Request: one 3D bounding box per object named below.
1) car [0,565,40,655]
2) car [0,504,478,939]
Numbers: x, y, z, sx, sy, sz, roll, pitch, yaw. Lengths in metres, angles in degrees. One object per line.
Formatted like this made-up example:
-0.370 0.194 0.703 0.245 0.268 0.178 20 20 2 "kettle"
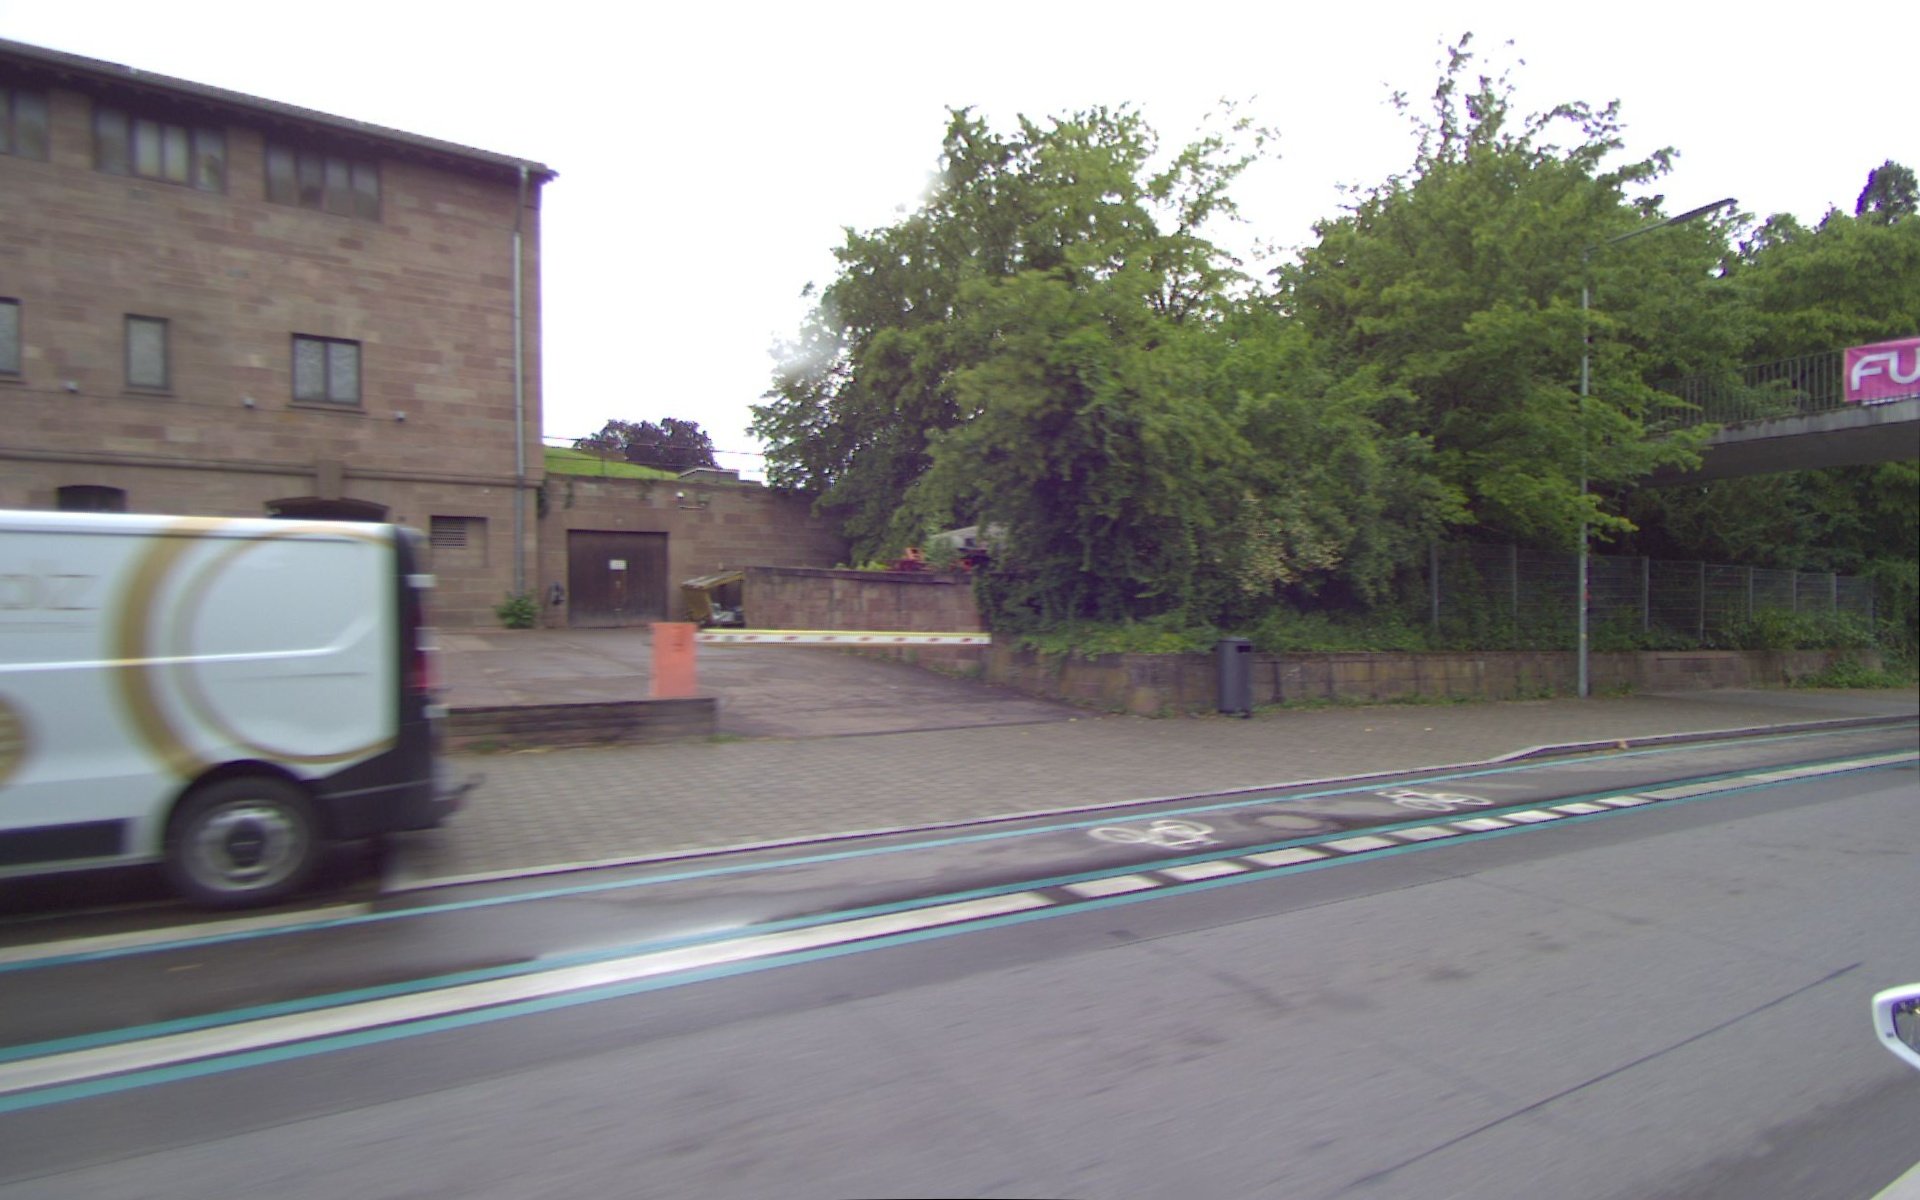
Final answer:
-17.195 0.132 16.625 2.239 1.451 4.276 1 1 -34 "car"
-5.317 0.540 5.032 5.162 1.940 1.970 0 0 -29 "car"
